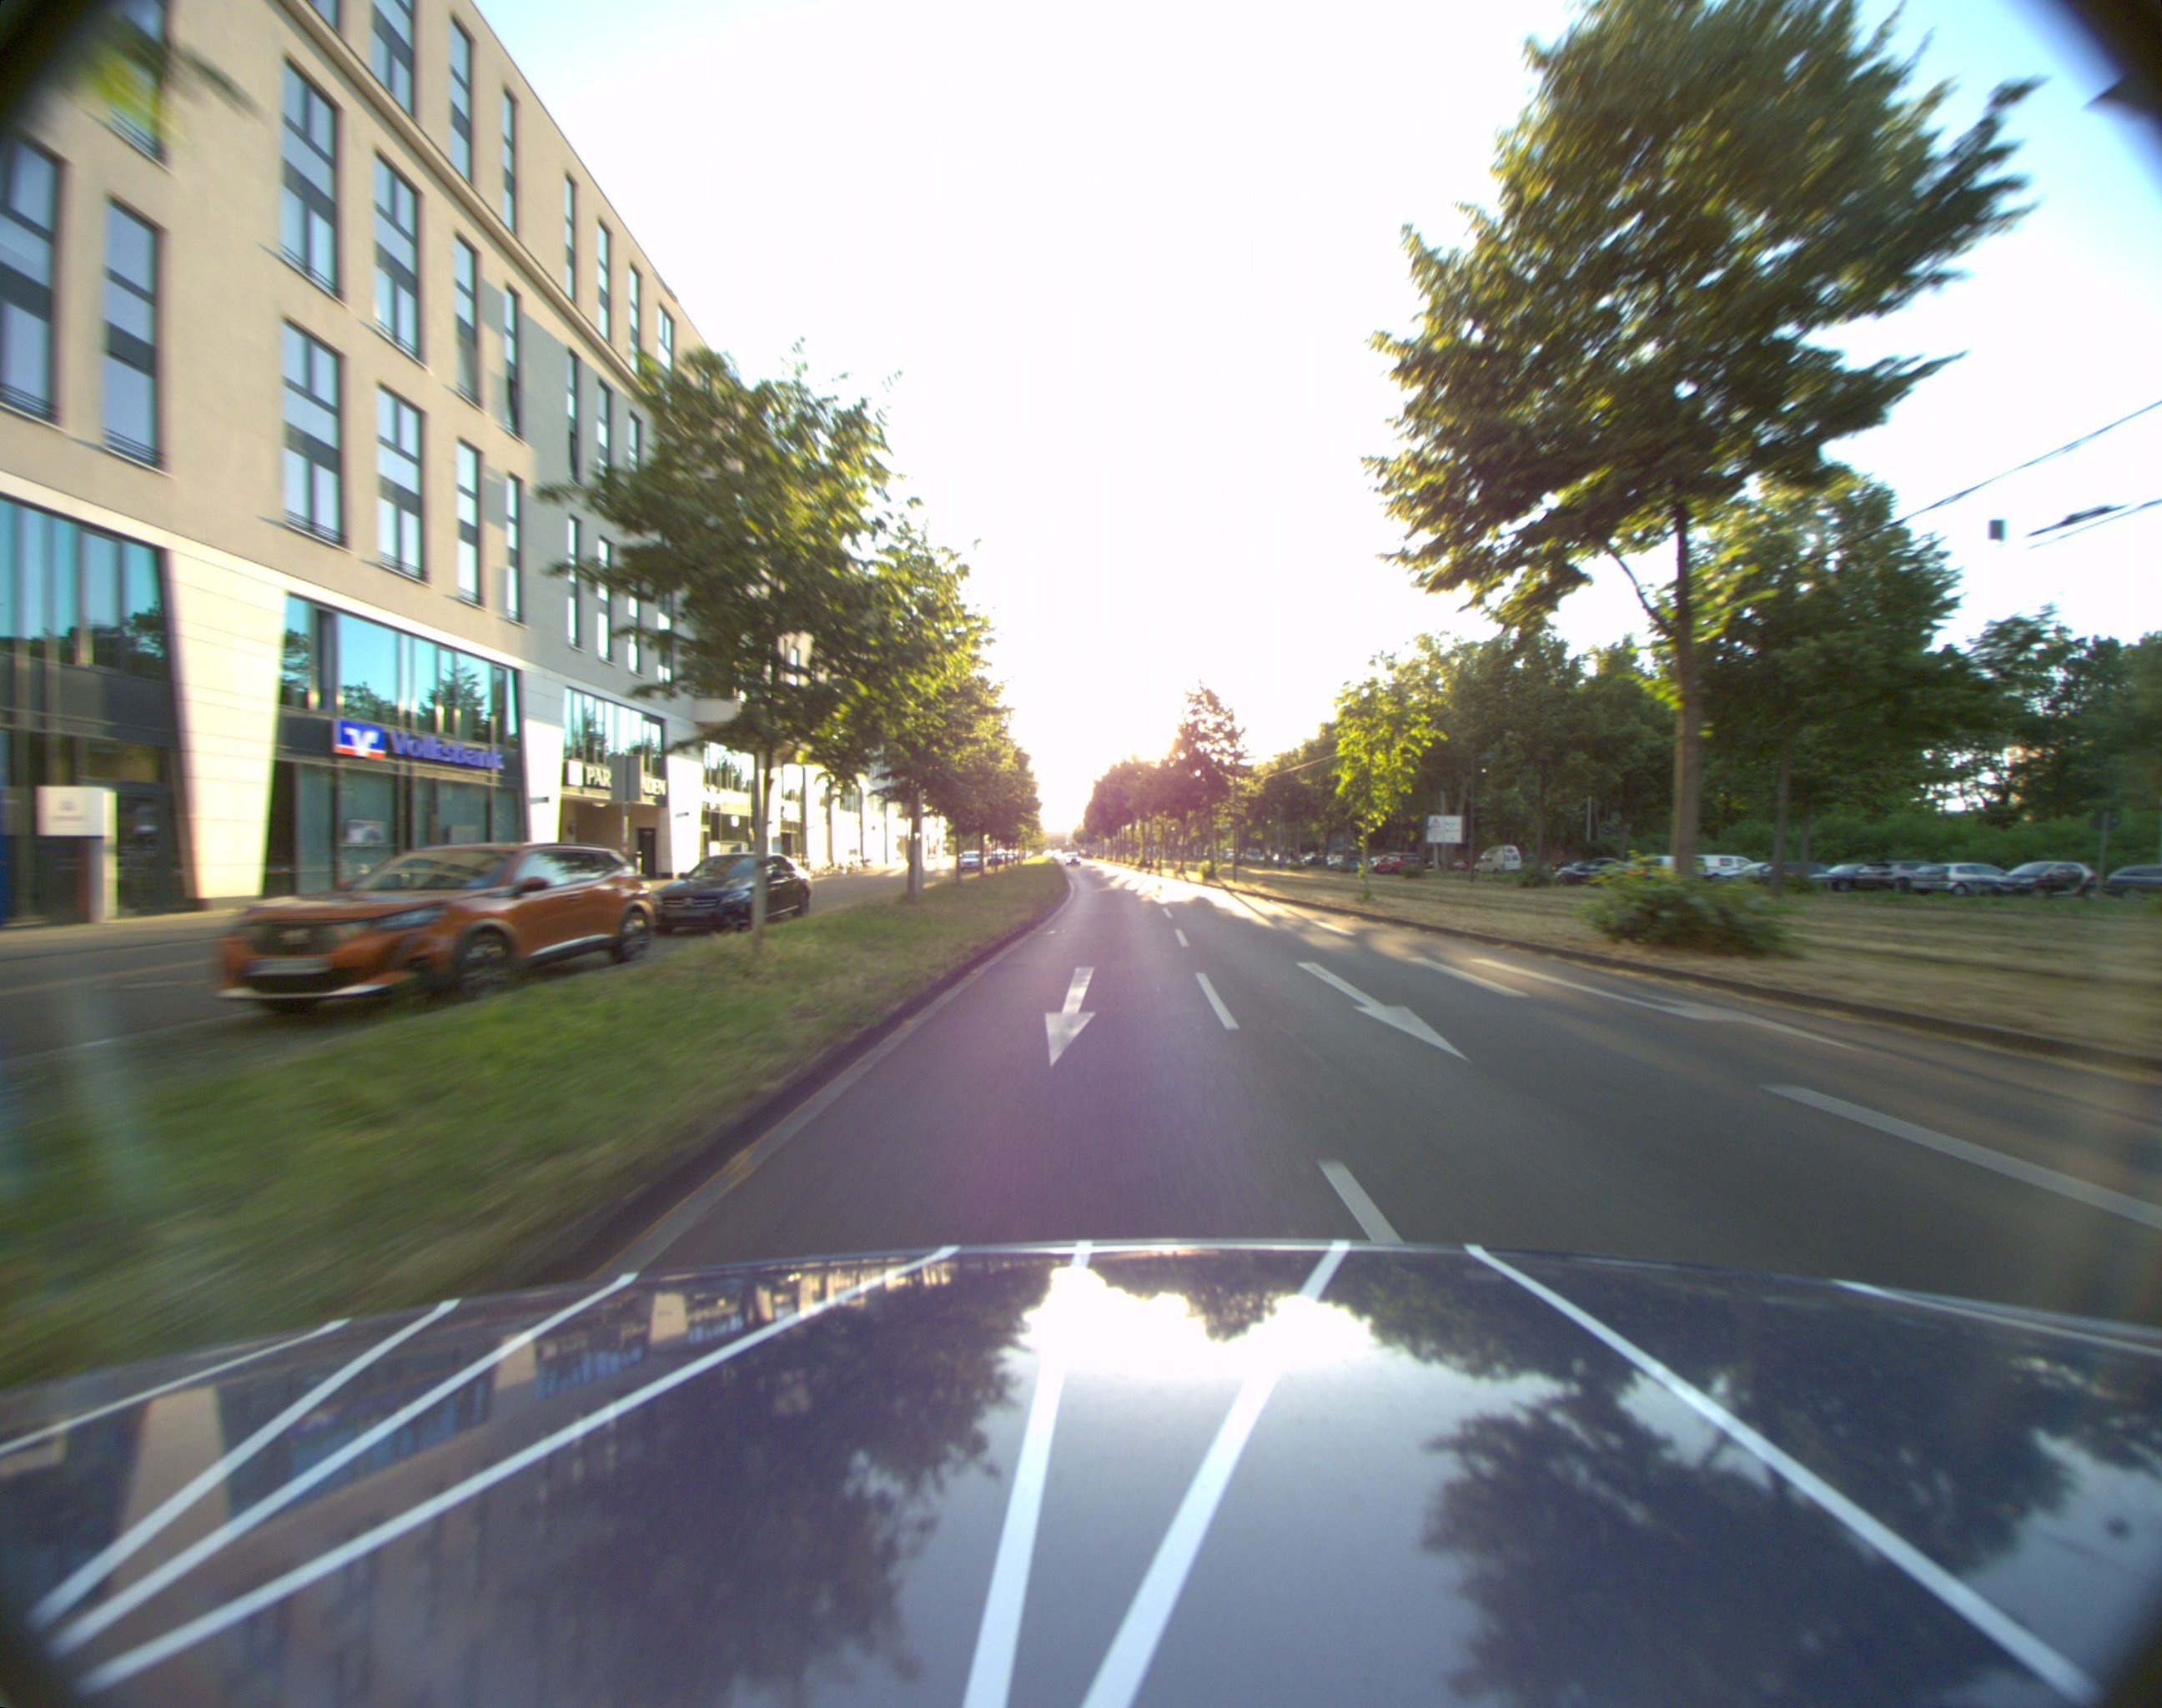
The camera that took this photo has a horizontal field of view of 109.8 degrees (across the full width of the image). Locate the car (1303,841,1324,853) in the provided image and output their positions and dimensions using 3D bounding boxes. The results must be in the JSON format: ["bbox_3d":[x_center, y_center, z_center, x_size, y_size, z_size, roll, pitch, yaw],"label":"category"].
[{"bbox_3d":[39.328,-1.239,128.704,1.998,2.002,5.058,0,0,1],"label":"car"}]

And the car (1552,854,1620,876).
[{"bbox_3d":[38.859,0.841,58.513,3.997,1.630,1.922,0,1,-1],"label":"car"}]

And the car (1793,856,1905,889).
[{"bbox_3d":[39.194,0.923,38.835,3.999,1.630,1.921,0,1,-5],"label":"car"}]

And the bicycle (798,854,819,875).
[{"bbox_3d":[-14.759,0.553,41.195,0.534,1.055,1.856,2,0,-2],"label":"bicycle"}]

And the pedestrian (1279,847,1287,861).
[{"bbox_3d":[26.140,0.017,98.278,0.695,1.733,0.866,0,1,-4],"label":"pedestrian"}]

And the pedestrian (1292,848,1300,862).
[{"bbox_3d":[27.678,0.116,97.899,0.695,1.749,0.865,0,1,-10],"label":"pedestrian"}]

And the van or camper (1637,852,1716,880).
[{"bbox_3d":[39.279,0.803,50.159,4.001,1.780,1.998,0,0,-12],"label":"van or camper"}]

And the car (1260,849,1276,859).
[{"bbox_3d":[30.192,0.012,122.798,1.998,1.630,4.001,0,0,5],"label":"car"}]

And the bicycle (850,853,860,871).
[{"bbox_3d":[-14.345,0.509,48.304,0.535,1.055,1.854,2,0,-14],"label":"bicycle"}]

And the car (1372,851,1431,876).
[{"bbox_3d":[20.911,0.603,49.708,1.890,1.569,4.180,0,0,-4],"label":"car"}]

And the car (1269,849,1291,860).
[{"bbox_3d":[29.115,0.043,111.439,1.999,1.490,4.556,0,1,-1],"label":"car"}]

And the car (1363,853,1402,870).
[{"bbox_3d":[31.169,0.753,78.666,1.999,1.740,4.789,0,1,-3],"label":"car"}]

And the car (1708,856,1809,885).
[{"bbox_3d":[39.408,0.918,44.271,3.995,1.630,1.923,0,1,5],"label":"car"}]

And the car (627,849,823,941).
[{"bbox_3d":[-6.803,0.670,15.213,1.949,1.540,4.809,0,1,-4],"label":"car"}]

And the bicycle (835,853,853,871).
[{"bbox_3d":[-14.625,0.484,46.849,0.534,1.055,1.856,2,0,-2],"label":"bicycle"}]

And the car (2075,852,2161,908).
[{"bbox_3d":[39.954,0.943,27.252,1.999,2.002,4.930,0,1,-3],"label":"car"}]

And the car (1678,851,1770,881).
[{"bbox_3d":[39.746,0.715,47.020,3.997,1.834,2.012,0,1,-2],"label":"car"}]

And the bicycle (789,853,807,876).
[{"bbox_3d":[-13.963,0.502,37.570,0.535,1.055,1.779,2,0,-11],"label":"bicycle"}]

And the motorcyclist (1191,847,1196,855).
[{"bbox_3d":[18.579,-0.536,125.803,0.683,1.368,0.804,0,1,-3],"label":"motorcyclist"}]

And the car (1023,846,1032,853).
[{"bbox_3d":[-12.423,-1.073,176.683,1.925,1.492,5.409,0,0,-3],"label":"car"}]

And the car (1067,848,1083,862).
[{"bbox_3d":[-0.750,0.110,90.627,1.828,1.625,3.999,0,0,-3],"label":"car"}]

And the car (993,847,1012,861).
[{"bbox_3d":[-9.516,-0.011,92.735,1.958,1.614,4.819,-2,0,-3],"label":"car"}]

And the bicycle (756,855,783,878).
[{"bbox_3d":[-14.710,0.583,35.898,0.534,1.055,1.856,2,0,-2],"label":"bicycle"}]

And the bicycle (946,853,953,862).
[{"bbox_3d":[-16.224,0.408,93.779,0.621,1.027,2.260,0,1,-3],"label":"bicycle"}]

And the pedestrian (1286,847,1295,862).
[{"bbox_3d":[26.812,0.080,97.270,0.695,1.859,0.865,0,1,-10],"label":"pedestrian"}]

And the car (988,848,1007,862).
[{"bbox_3d":[-9.287,0.093,85.023,1.729,1.492,4.231,-1,0,-2],"label":"car"}]

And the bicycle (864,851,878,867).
[{"bbox_3d":[-15.301,0.374,55.416,0.539,1.157,1.780,2,0,-2],"label":"bicycle"}]

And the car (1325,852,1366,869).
[{"bbox_3d":[23.259,0.552,66.975,1.923,1.499,4.286,0,1,-2],"label":"car"}]

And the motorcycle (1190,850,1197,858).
[{"bbox_3d":[18.585,0.011,125.809,0.684,1.329,2.344,0,0,-3],"label":"motorcycle"}]

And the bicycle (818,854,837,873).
[{"bbox_3d":[-14.788,0.549,44.353,0.534,1.055,1.856,2,0,-2],"label":"bicycle"}]

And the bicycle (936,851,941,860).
[{"bbox_3d":[-16.534,0.145,88.334,0.535,1.053,1.611,0,1,-8],"label":"bicycle"}]

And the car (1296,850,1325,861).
[{"bbox_3d":[28.648,0.130,95.093,1.999,1.307,5.141,0,1,-1],"label":"car"}]

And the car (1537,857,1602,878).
[{"bbox_3d":[38.966,1.074,60.687,3.997,1.630,1.922,0,1,0],"label":"car"}]

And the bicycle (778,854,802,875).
[{"bbox_3d":[-14.692,0.520,38.398,0.534,1.055,1.856,0,0,-2],"label":"bicycle"}]

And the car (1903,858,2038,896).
[{"bbox_3d":[39.420,1.004,33.734,3.999,1.630,1.921,0,1,-5],"label":"car"}]

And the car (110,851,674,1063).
[{"bbox_3d":[-6.325,0.757,7.914,1.860,1.521,4.481,-1,1,-2],"label":"car"}]

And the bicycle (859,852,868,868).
[{"bbox_3d":[-15.826,0.433,55.366,0.535,1.055,1.854,2,0,-14],"label":"bicycle"}]

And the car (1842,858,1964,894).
[{"bbox_3d":[39.235,1.045,36.325,3.999,1.630,1.921,0,1,-5],"label":"car"}]

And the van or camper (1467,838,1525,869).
[{"bbox_3d":[38.301,-0.039,70.256,2.091,2.720,5.492,0,1,-4],"label":"van or camper"}]

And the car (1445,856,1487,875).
[{"bbox_3d":[38.226,1.102,75.502,1.999,1.740,3.998,0,1,-3],"label":"car"}]

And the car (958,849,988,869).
[{"bbox_3d":[-8.269,0.336,58.602,1.813,1.492,4.824,0,0,-3],"label":"car"}]

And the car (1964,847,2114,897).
[{"bbox_3d":[39.884,0.730,31.692,3.999,2.002,1.999,0,1,-5],"label":"car"}]

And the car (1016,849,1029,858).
[{"bbox_3d":[-10.053,-0.066,131.066,1.813,1.492,4.368,4,0,1],"label":"car"}]

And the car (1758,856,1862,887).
[{"bbox_3d":[39.386,0.931,41.117,3.999,1.630,1.921,0,1,-5],"label":"car"}]

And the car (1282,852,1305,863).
[{"bbox_3d":[29.491,0.448,105.679,1.905,1.491,4.305,0,1,-1],"label":"car"}]

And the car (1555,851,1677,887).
[{"bbox_3d":[21.770,0.559,31.164,1.661,1.324,4.472,0,0,-4],"label":"car"}]

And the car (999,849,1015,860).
[{"bbox_3d":[-9.692,0.046,100.045,1.926,1.492,5.008,0,0,-3],"label":"car"}]
